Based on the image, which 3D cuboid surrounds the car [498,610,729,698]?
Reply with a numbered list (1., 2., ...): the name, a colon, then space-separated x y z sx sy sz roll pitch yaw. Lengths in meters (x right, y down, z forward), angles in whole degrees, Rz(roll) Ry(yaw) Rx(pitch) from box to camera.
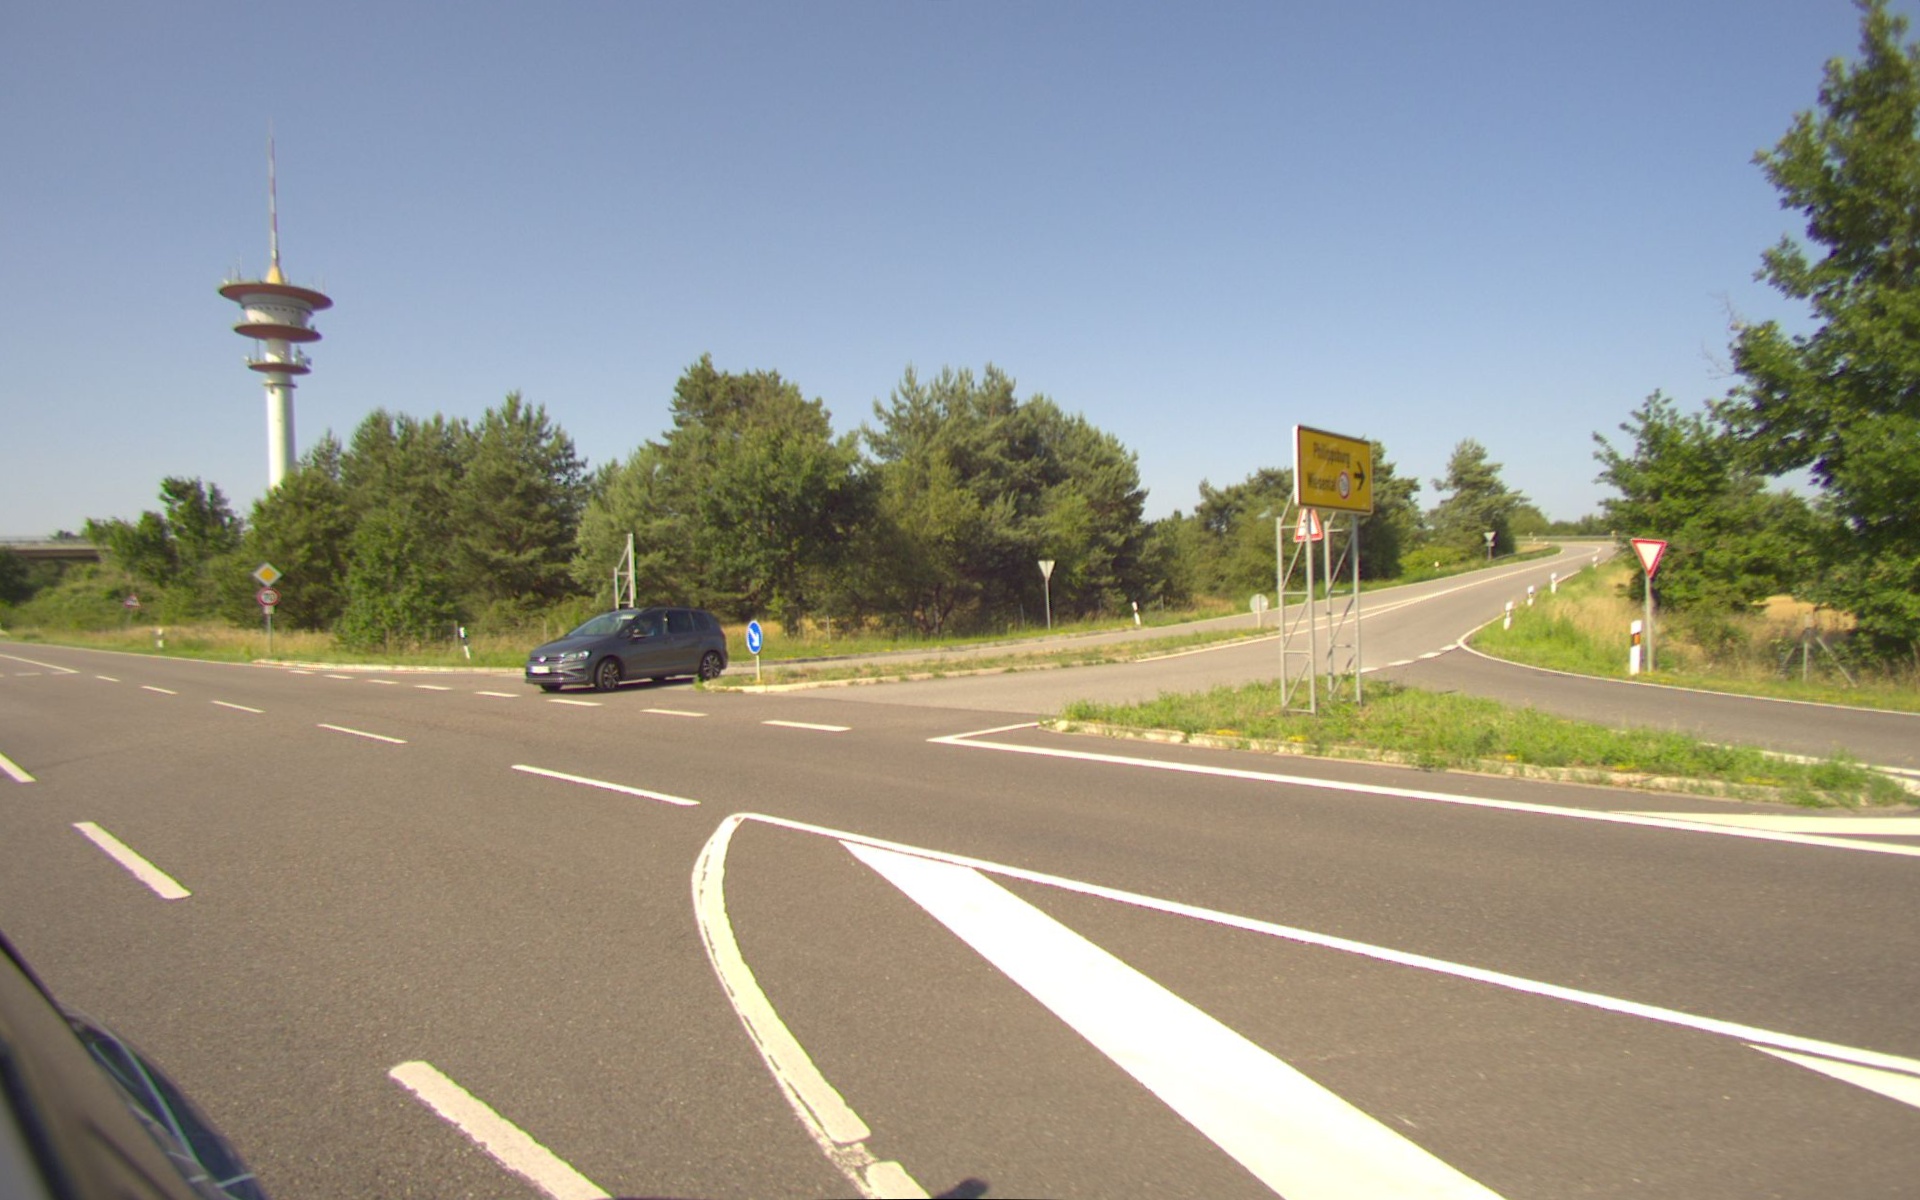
1. car: -6.699 0.980 19.950 1.865 1.553 4.029 -1 -1 34
